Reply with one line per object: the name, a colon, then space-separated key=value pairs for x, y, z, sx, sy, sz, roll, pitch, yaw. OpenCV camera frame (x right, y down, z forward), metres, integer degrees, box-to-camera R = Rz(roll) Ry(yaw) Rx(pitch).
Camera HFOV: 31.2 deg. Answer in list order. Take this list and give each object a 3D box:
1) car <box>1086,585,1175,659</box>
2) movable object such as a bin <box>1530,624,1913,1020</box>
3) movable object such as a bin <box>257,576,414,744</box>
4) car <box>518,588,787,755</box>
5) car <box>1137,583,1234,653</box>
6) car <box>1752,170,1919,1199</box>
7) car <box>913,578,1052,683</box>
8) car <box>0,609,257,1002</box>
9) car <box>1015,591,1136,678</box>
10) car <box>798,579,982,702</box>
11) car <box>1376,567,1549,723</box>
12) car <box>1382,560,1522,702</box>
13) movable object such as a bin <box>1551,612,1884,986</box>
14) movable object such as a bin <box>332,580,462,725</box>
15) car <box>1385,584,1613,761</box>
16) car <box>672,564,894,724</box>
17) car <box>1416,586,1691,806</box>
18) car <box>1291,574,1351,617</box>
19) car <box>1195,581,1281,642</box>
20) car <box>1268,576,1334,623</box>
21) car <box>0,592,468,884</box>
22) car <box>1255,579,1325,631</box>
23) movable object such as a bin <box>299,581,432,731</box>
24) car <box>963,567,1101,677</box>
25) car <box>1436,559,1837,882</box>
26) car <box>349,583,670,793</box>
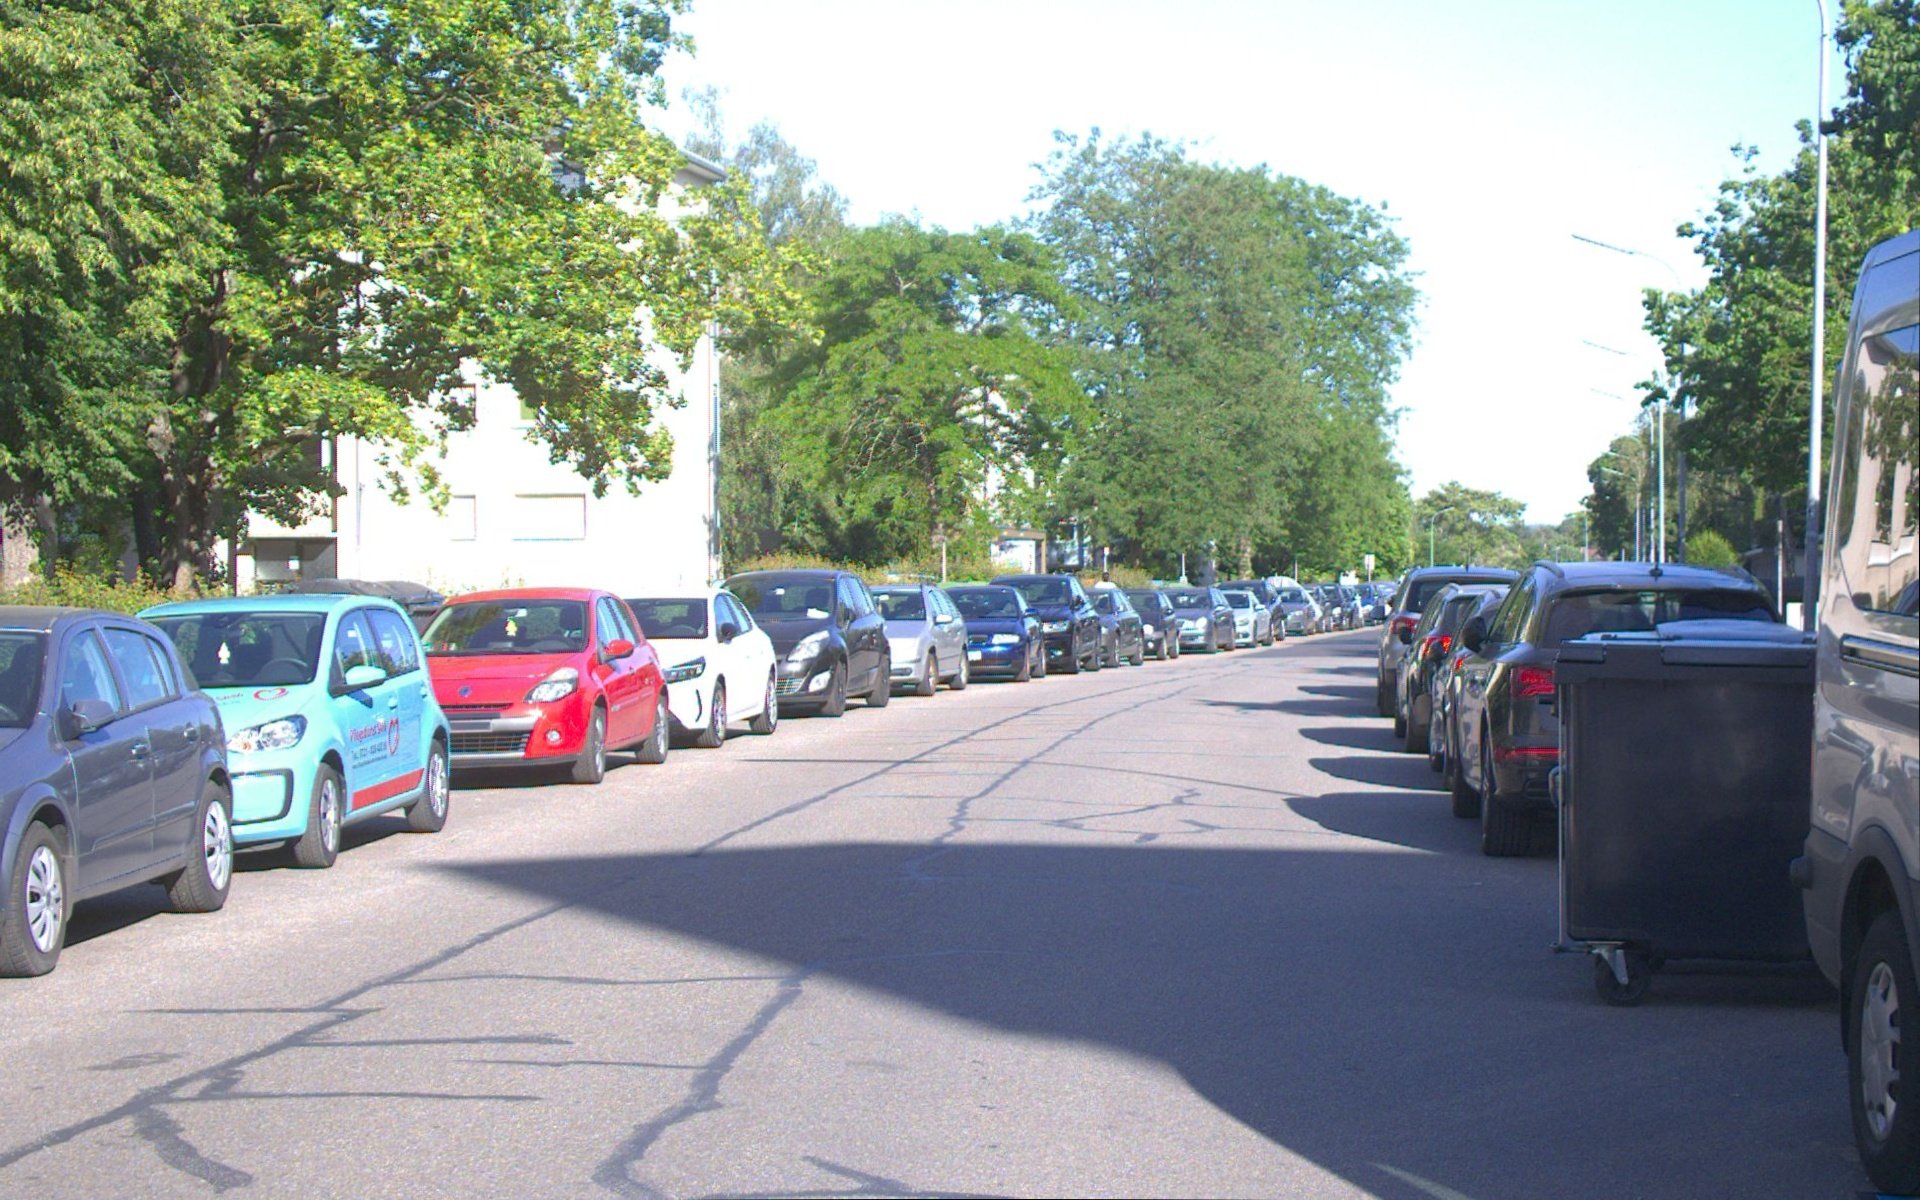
car: x=3.452 y=0.423 z=69.298 sx=1.389 sy=1.408 sz=3.124 roll=-2 pitch=0 yaw=10
movable object such as a bin: x=2.737 y=0.779 z=12.466 sx=1.269 sy=1.309 sz=1.122 roll=-1 pitch=2 yaw=11
movable object such as a bin: x=-5.749 y=0.541 z=31.732 sx=1.111 sy=1.493 sz=1.408 roll=0 pitch=1 yaw=3
car: x=-2.806 y=0.625 z=32.140 sx=1.671 sy=1.416 sz=3.900 roll=-1 pitch=0 yaw=7
car: x=5.010 y=0.389 z=75.896 sx=1.510 sy=1.446 sz=3.688 roll=-2 pitch=0 yaw=13
car: x=3.206 y=0.277 z=6.648 sx=2.105 sy=2.478 sz=5.855 roll=1 pitch=0 yaw=2
car: x=0.368 y=0.419 z=50.697 sx=1.660 sy=1.422 sz=4.048 roll=-2 pitch=0 yaw=5
car: x=-4.339 y=0.793 z=14.582 sx=1.670 sy=1.432 sz=4.000 roll=-1 pitch=0 yaw=3
car: x=2.096 y=0.589 z=61.523 sx=1.661 sy=1.434 sz=3.758 roll=-2 pitch=0 yaw=9
car: x=-0.871 y=0.499 z=45.181 sx=1.661 sy=1.481 sz=4.051 roll=-2 pitch=0 yaw=9
car: x=5.569 y=0.461 z=38.480 sx=1.730 sy=1.613 sz=4.232 roll=1 pitch=0 yaw=6
car: x=6.235 y=0.358 z=43.630 sx=1.653 sy=1.693 sz=4.232 roll=1 pitch=0 yaw=8
movable object such as a bin: x=2.974 y=0.751 z=13.612 sx=1.228 sy=1.392 sz=1.170 roll=0 pitch=0 yaw=11
movable object such as a bin: x=-5.683 y=0.520 z=34.757 sx=0.988 sy=1.414 sz=1.314 roll=0 pitch=1 yaw=5
car: x=4.863 y=0.609 z=31.491 sx=1.682 sy=1.451 sz=4.291 roll=2 pitch=0 yaw=4
car: x=-1.917 y=0.449 z=38.632 sx=1.671 sy=1.661 sz=4.405 roll=-1 pitch=0 yaw=8
car: x=4.438 y=0.669 z=26.159 sx=1.685 sy=1.482 sz=3.824 roll=2 pitch=0 yaw=5
car: x=11.826 y=-0.161 z=112.463 sx=1.510 sy=1.325 sz=3.465 roll=-2 pitch=0 yaw=13
car: x=6.654 y=0.270 z=82.069 sx=1.510 sy=1.359 sz=3.465 roll=-2 pitch=0 yaw=13
car: x=10.286 y=-0.025 z=103.529 sx=1.510 sy=1.325 sz=3.465 roll=-2 pitch=0 yaw=13
car: x=-4.082 y=0.716 z=19.676 sx=1.670 sy=1.469 sz=3.677 roll=-1 pitch=0 yaw=5
car: x=9.406 y=0.127 z=97.878 sx=1.510 sy=1.377 sz=3.465 roll=-2 pitch=0 yaw=13
movable object such as a bin: x=-5.764 y=0.530 z=33.401 sx=0.988 sy=1.414 sz=1.314 roll=0 pitch=1 yaw=3
car: x=1.210 y=0.328 z=56.286 sx=1.661 sy=1.682 sz=4.048 roll=-2 pitch=0 yaw=9
car: x=3.913 y=0.611 z=20.572 sx=1.810 sy=1.658 sz=4.461 roll=2 pitch=1 yaw=5
car: x=-3.406 y=0.630 z=26.614 sx=1.670 sy=1.469 sz=3.677 roll=-1 pitch=0 yaw=5
